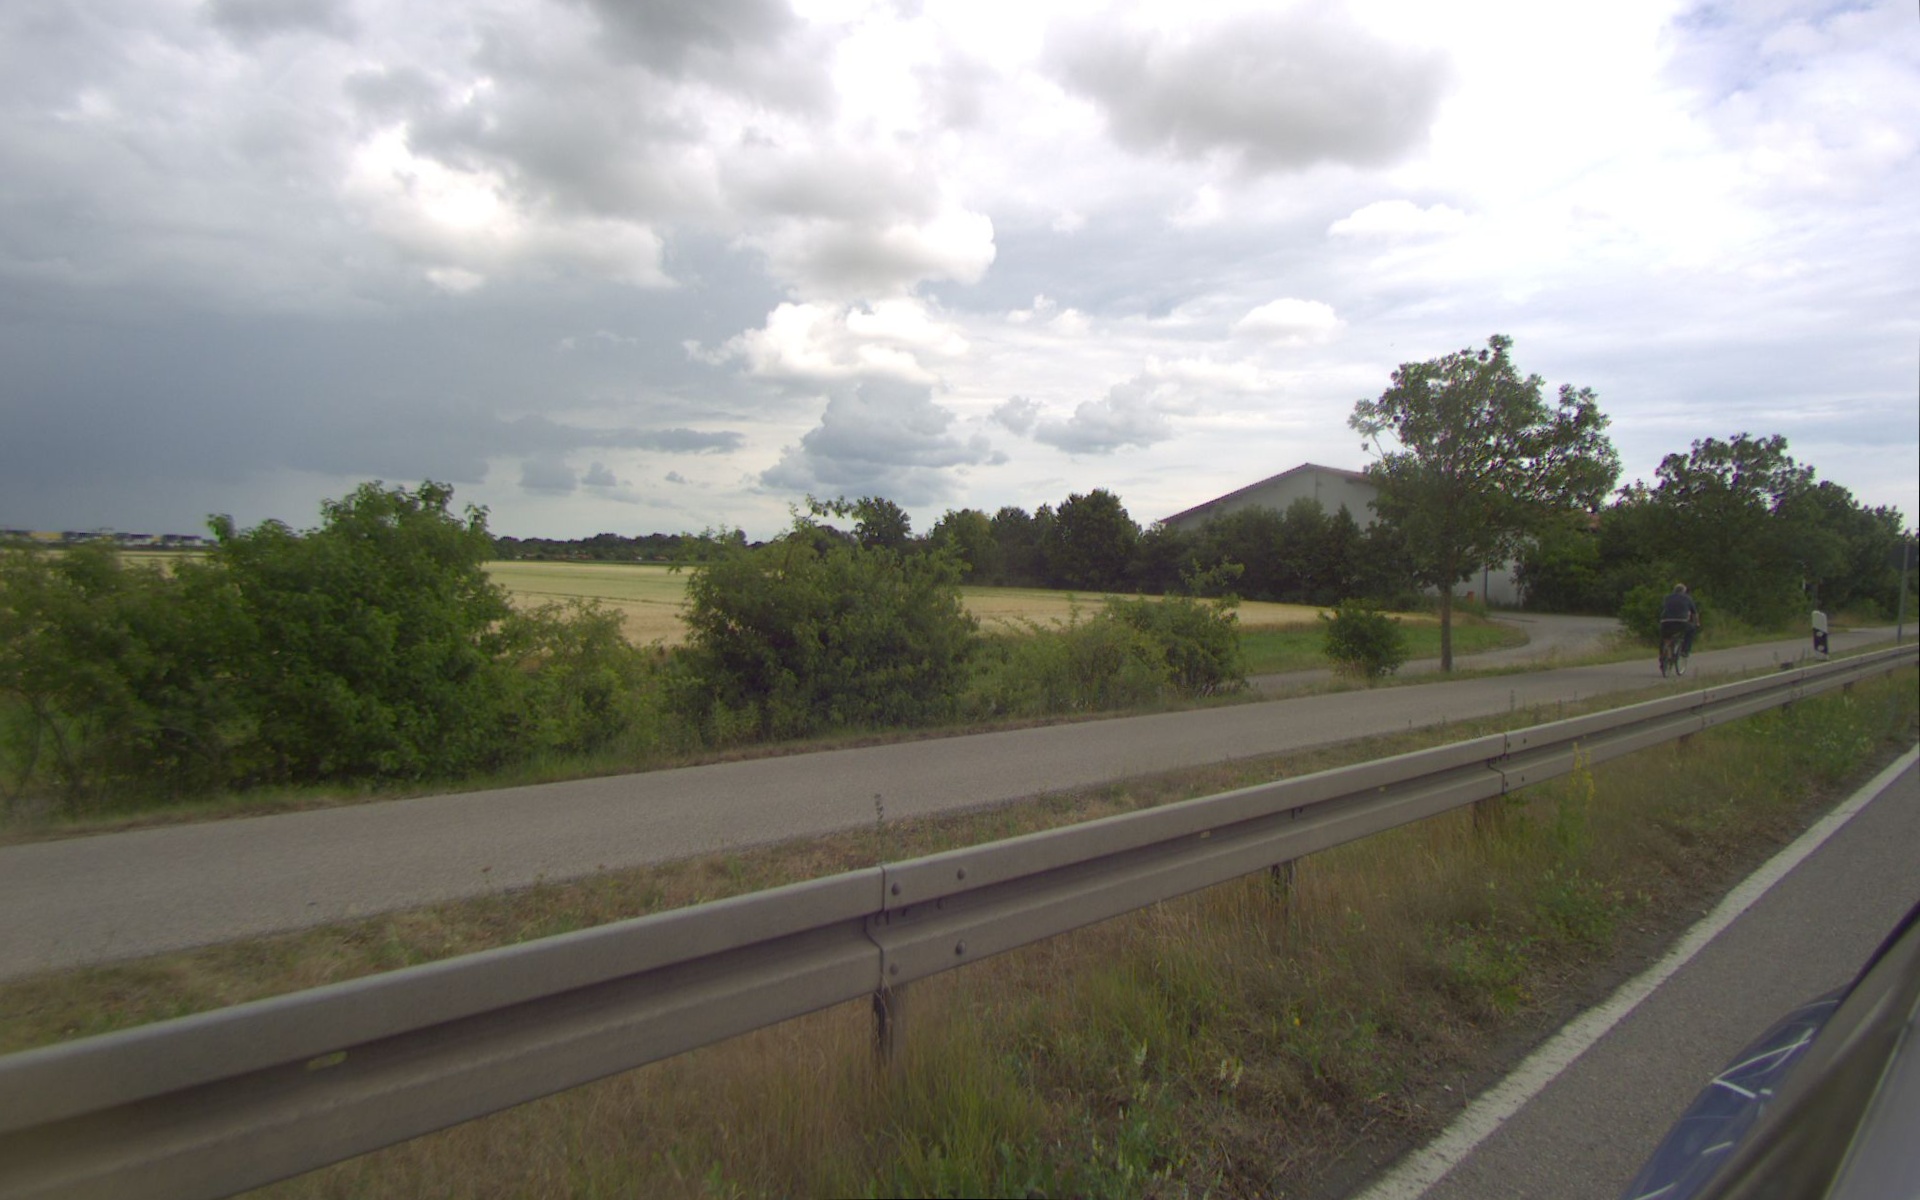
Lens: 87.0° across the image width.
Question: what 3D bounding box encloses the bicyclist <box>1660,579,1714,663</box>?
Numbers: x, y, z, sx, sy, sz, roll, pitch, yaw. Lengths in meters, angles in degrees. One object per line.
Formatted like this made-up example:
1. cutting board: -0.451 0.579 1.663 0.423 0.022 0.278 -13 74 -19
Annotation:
1. bicyclist: 14.431 0.396 20.085 0.952 1.602 0.640 0 1 -41

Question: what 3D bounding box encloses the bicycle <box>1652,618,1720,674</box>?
1. bicycle: 14.435 0.889 20.106 2.036 0.990 0.640 0 2 -41
